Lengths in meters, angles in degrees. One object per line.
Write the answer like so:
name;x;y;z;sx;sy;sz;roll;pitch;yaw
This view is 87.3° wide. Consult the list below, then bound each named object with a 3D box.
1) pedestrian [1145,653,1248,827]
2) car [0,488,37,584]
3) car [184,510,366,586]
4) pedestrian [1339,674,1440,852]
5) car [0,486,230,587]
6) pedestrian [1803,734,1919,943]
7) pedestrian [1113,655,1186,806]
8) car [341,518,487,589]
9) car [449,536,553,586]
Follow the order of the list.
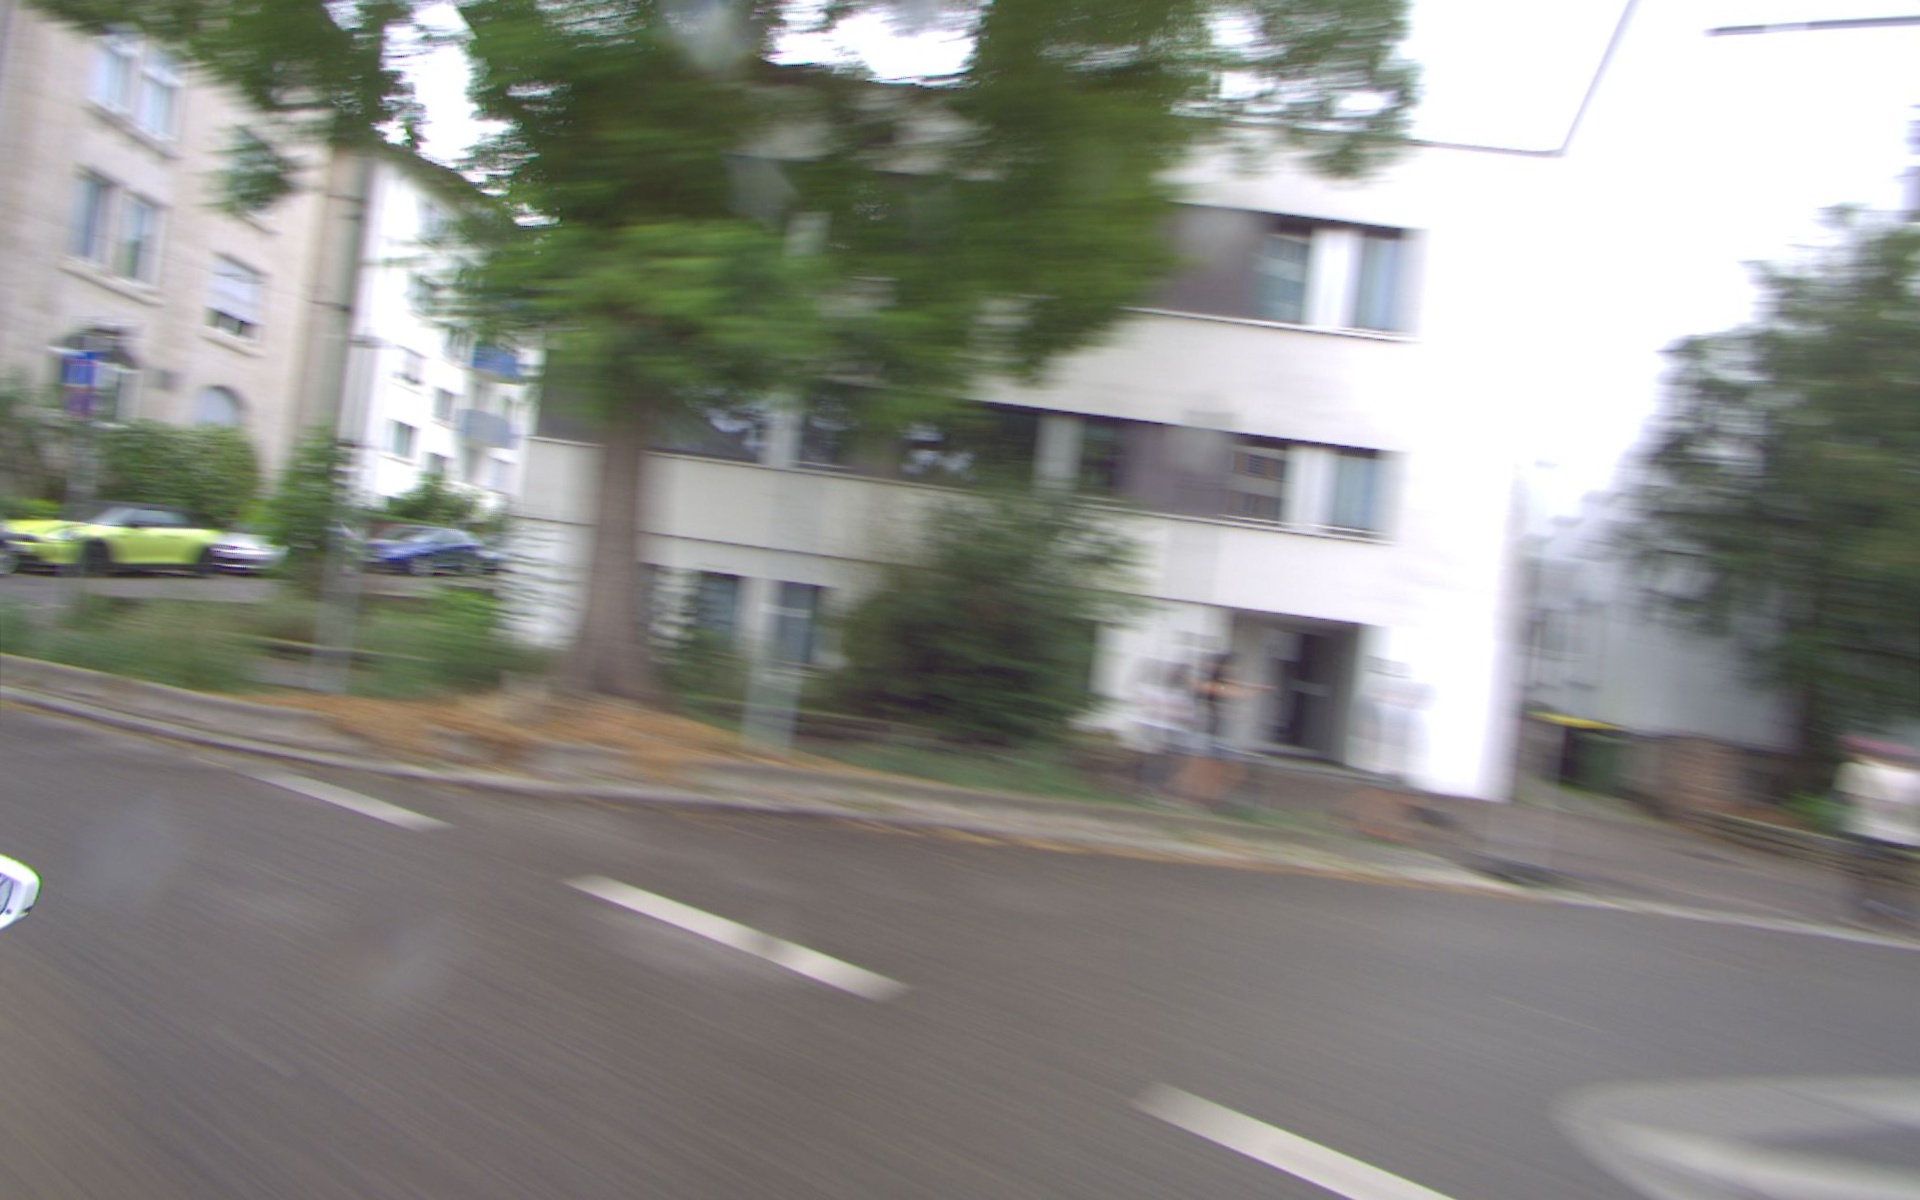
pedestrian;2.346;1.377;9.956;0.537;1.583;0.600;10;0;37
car;-16.598;-1.169;15.147;1.705;1.527;3.671;8;0;6
car;-16.043;-1.165;23.801;1.593;1.528;3.770;5;2;1
pedestrian;4.323;1.621;10.163;0.590;1.648;0.546;10;0;14
car;-16.376;-1.158;19.304;1.705;1.527;3.671;8;0;6
pedestrian;8.448;2.159;9.222;0.660;1.718;0.746;8;-2;9
pedestrian;2.024;1.386;10.732;0.380;1.525;0.536;7;1;40
car;-15.670;-1.274;29.097;1.592;1.525;3.902;6;-2;8
car;-15.565;-1.299;34.338;1.593;1.340;3.955;5;-1;2
